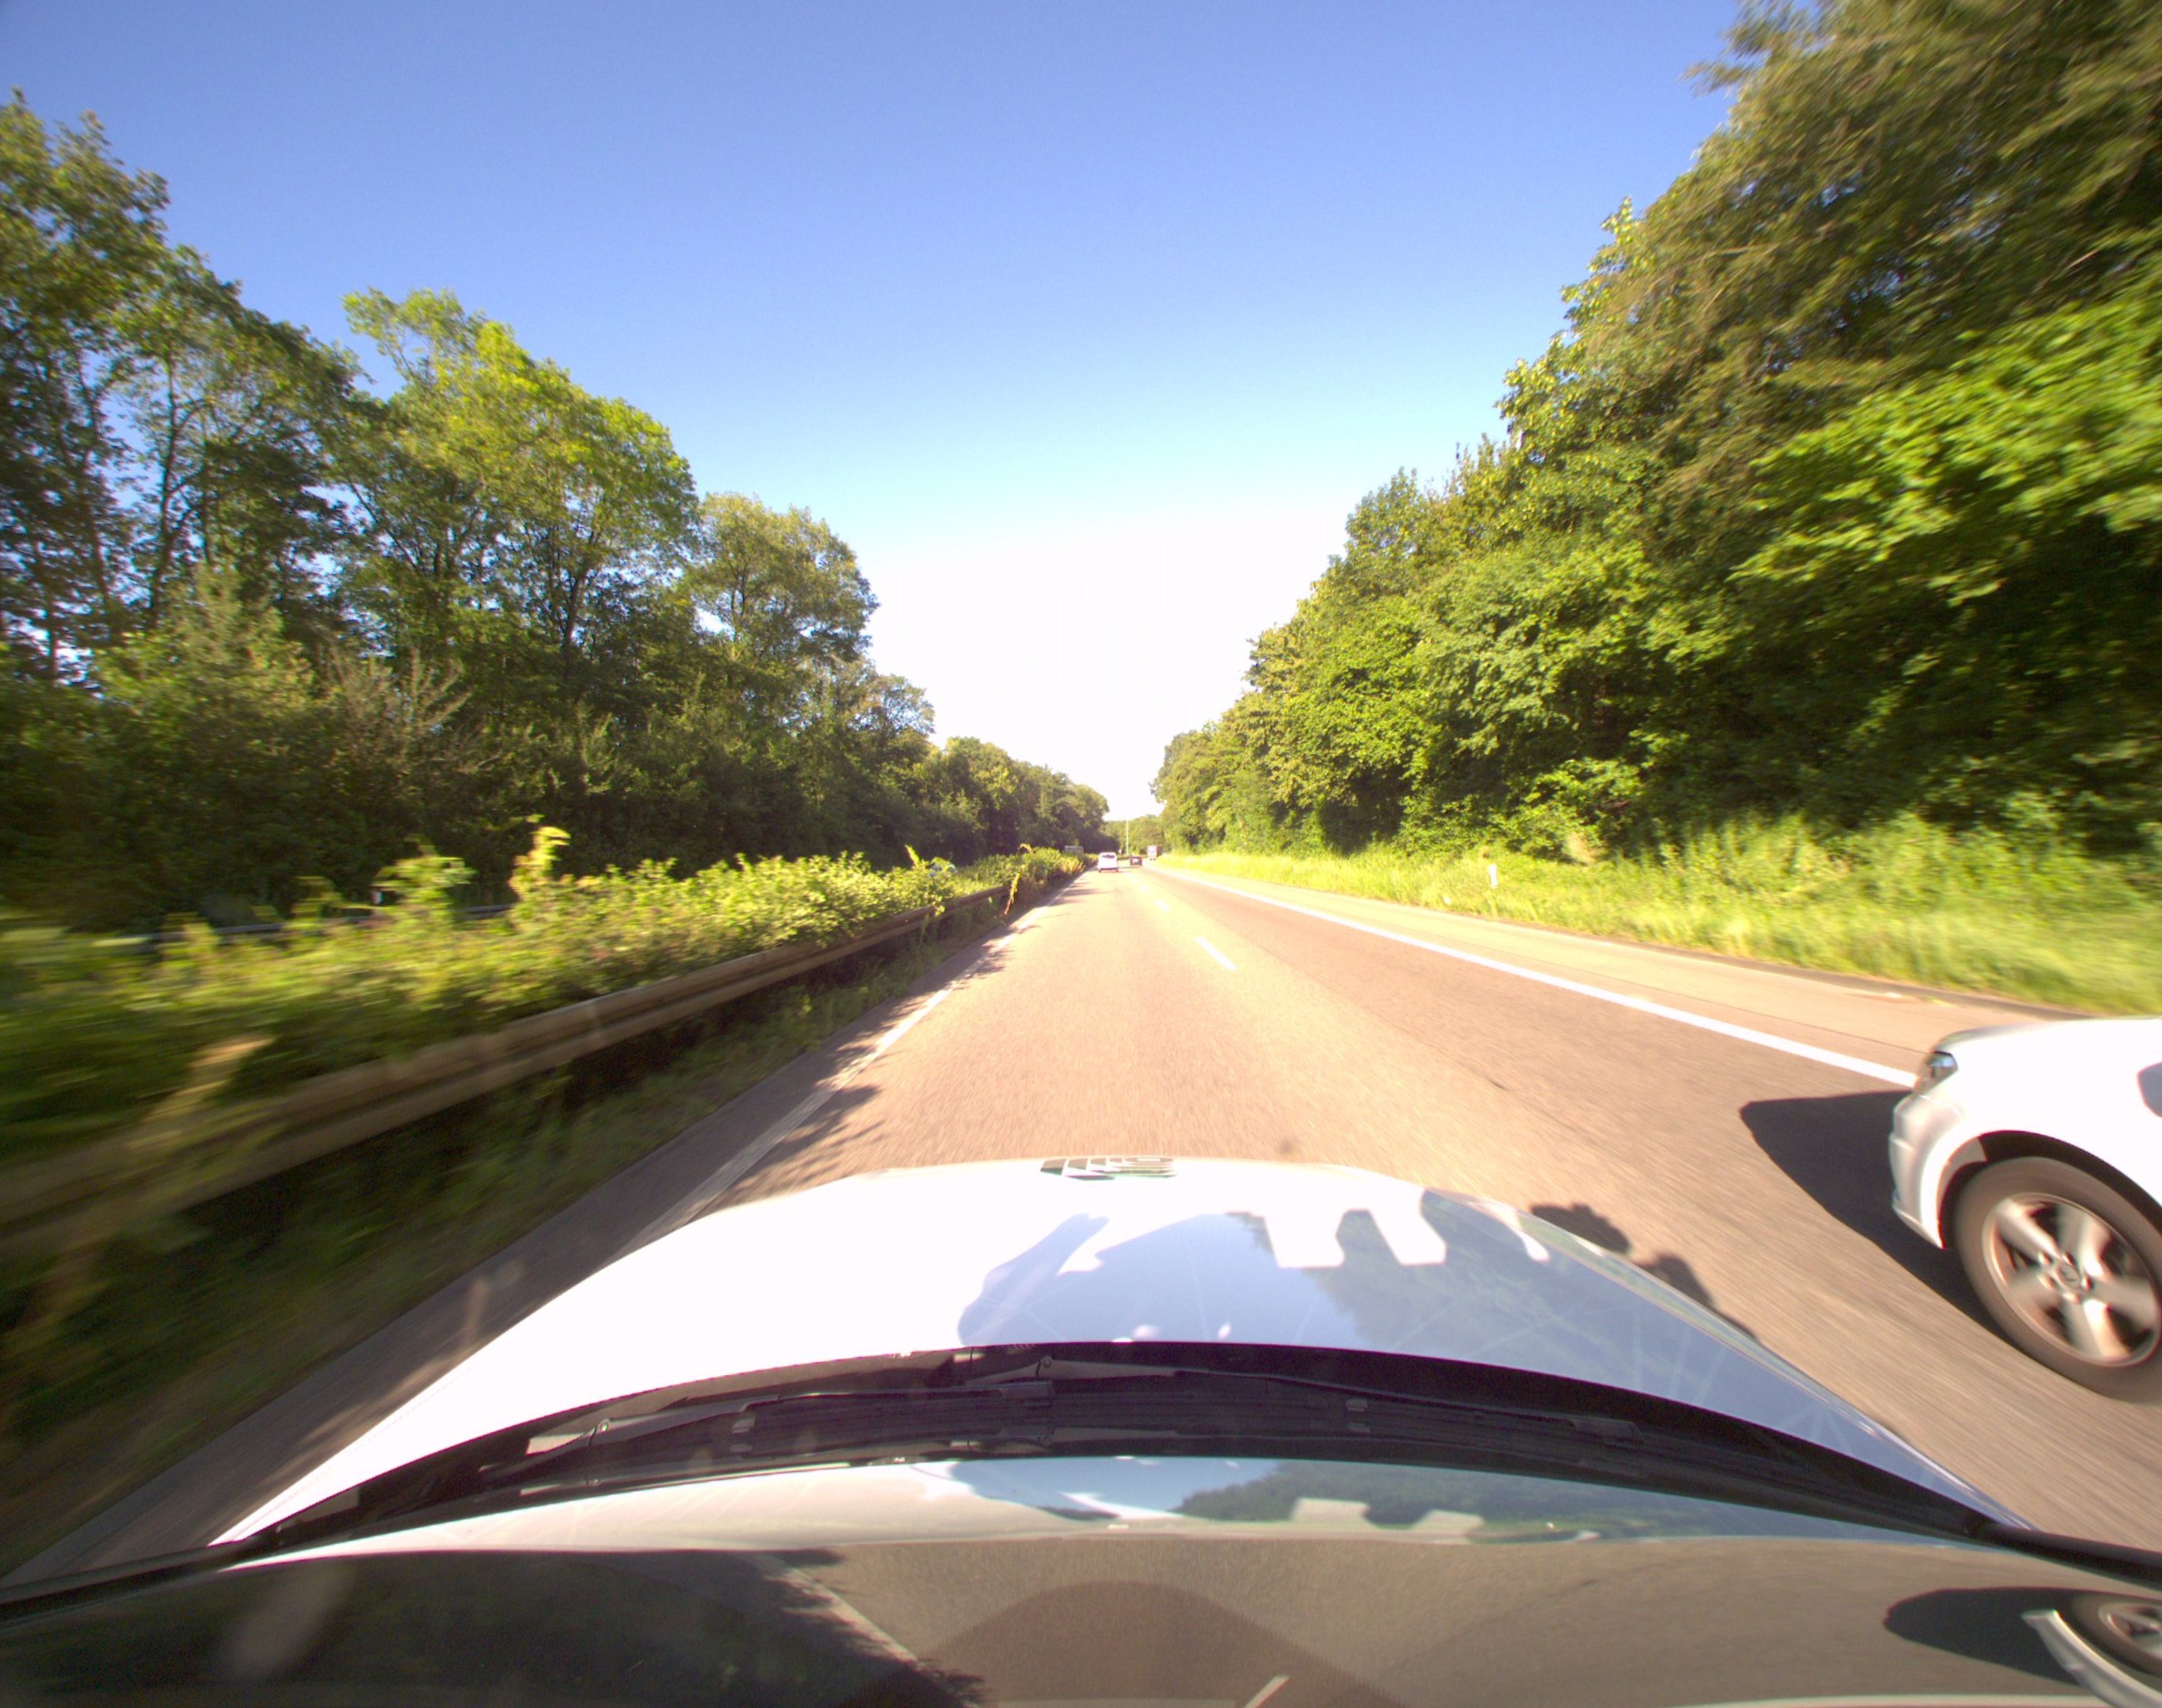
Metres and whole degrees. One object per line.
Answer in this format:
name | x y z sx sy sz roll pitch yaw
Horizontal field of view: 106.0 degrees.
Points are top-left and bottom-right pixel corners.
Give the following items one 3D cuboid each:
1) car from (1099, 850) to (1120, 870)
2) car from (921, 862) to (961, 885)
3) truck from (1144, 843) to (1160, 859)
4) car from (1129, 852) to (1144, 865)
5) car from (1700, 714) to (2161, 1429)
car | 2.613 0.560 75.312 1.944 1.782 4.589 0 -1 1
car | -9.830 1.339 57.399 1.987 1.449 4.339 -2 0 0
truck | 20.229 -0.844 232.348 3.712 4.343 9.328 0 -1 9
car | 8.197 0.674 119.965 1.944 1.782 4.589 0 -1 1
car | 3.613 0.541 1.335 1.792 1.813 4.589 0 -1 1
